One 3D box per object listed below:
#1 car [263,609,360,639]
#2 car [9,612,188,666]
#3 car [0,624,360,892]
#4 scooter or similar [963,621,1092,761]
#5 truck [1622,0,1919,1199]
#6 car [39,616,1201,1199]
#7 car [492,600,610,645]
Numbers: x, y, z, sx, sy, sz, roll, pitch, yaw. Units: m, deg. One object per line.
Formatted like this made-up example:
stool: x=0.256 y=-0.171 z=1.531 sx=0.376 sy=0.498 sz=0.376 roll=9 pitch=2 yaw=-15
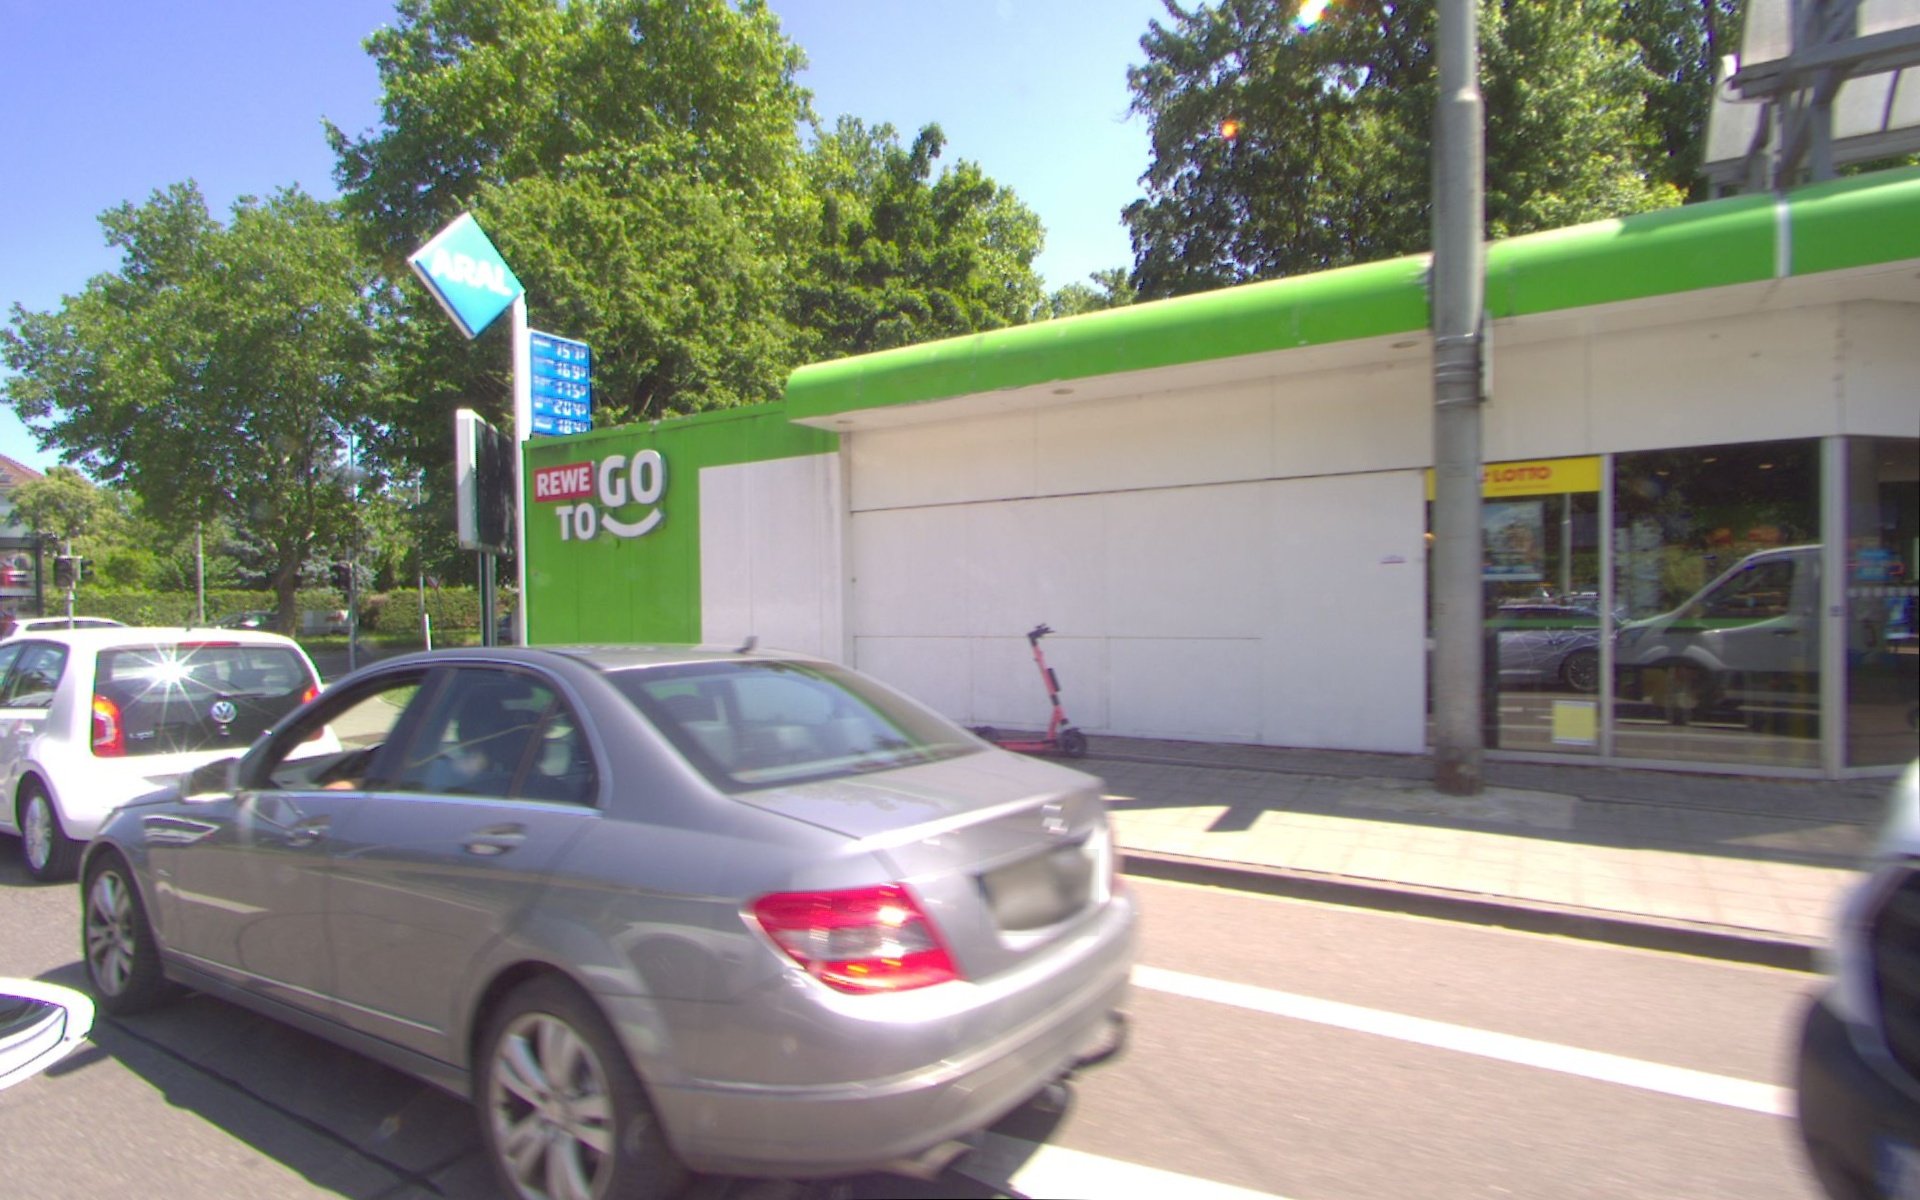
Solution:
car: x=-34.941 y=1.270 z=54.001 sx=1.976 sy=1.528 sz=3.970 roll=-1 pitch=0 yaw=39
car: x=-28.782 y=1.240 z=33.533 sx=1.980 sy=1.639 sz=4.413 roll=-1 pitch=0 yaw=45
car: x=-6.020 y=0.907 z=7.112 sx=3.469 sy=1.470 sz=1.604 roll=-1 pitch=-1 yaw=31
scooter or similar: x=0.614 y=0.818 z=9.288 sx=1.124 sy=1.211 sz=0.381 roll=-1 pitch=3 yaw=36
truck: x=5.392 y=-0.189 z=0.856 sx=7.685 sy=3.436 sz=2.426 roll=-1 pitch=0 yaw=11
car: x=-1.506 y=0.811 z=3.746 sx=4.354 sy=1.469 sz=1.792 roll=-1 pitch=0 yaw=32
car: x=-18.216 y=0.967 z=44.705 sx=4.494 sy=1.853 sz=1.981 roll=0 pitch=0 yaw=-44
